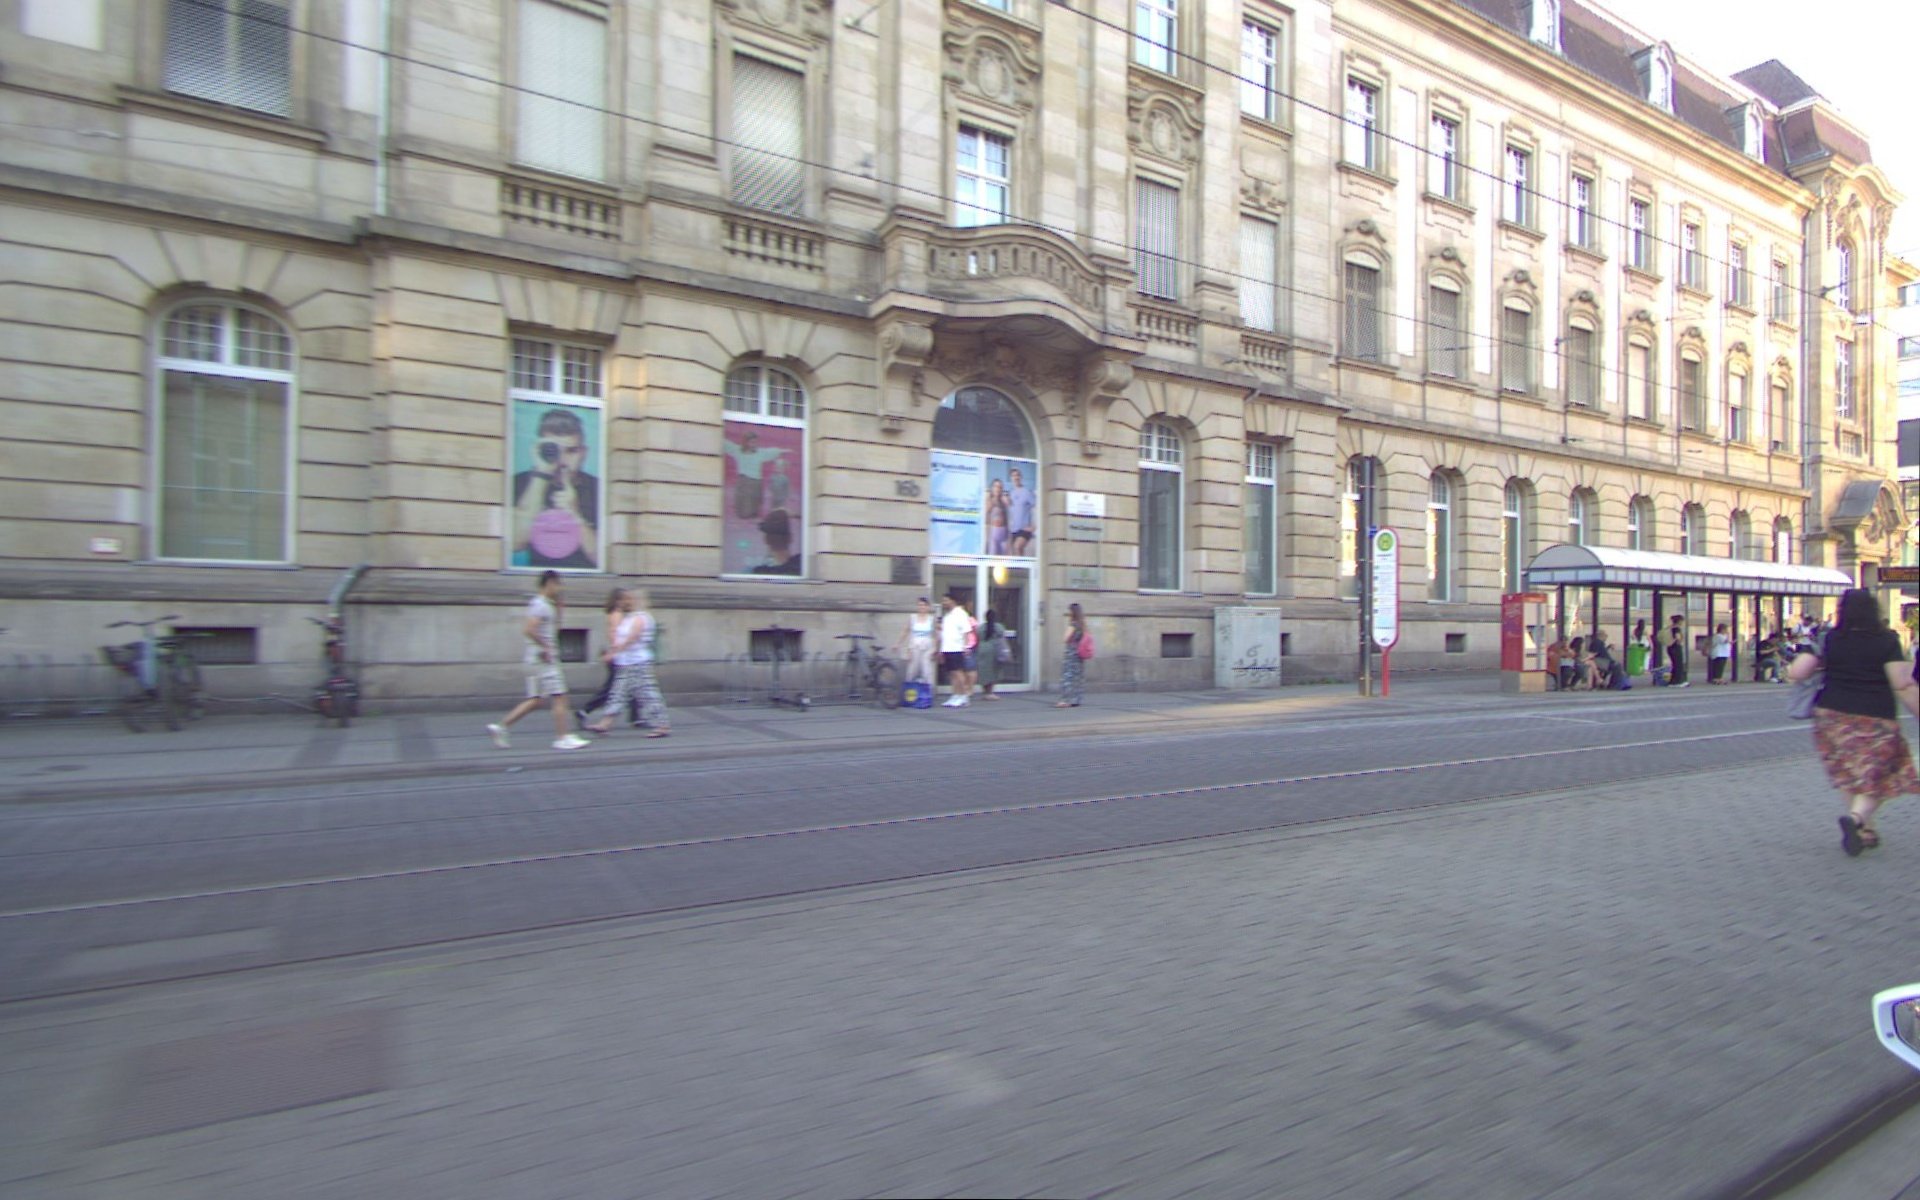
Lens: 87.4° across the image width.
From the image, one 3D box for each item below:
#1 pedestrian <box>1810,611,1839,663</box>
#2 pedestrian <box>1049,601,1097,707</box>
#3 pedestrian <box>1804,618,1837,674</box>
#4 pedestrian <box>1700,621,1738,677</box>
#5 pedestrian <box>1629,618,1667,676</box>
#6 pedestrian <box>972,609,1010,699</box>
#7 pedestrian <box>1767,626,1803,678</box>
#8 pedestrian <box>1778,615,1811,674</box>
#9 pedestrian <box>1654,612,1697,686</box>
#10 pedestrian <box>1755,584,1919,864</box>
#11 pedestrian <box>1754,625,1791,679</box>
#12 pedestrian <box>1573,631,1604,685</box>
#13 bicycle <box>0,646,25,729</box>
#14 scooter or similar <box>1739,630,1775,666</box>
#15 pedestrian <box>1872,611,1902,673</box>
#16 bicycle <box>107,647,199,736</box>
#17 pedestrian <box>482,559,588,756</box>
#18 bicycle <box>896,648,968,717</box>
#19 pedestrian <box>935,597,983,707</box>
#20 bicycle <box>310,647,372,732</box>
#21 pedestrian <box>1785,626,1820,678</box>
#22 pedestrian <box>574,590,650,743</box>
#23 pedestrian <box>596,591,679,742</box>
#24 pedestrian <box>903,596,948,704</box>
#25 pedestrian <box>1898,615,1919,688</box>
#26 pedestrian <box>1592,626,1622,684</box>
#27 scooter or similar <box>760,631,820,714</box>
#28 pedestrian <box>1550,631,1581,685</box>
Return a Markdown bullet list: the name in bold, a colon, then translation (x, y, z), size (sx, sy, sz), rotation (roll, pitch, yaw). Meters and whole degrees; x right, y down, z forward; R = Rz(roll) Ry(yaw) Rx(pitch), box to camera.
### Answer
- **pedestrian**: translation (30.446, 1.298, 35.366), size (0.699, 1.800, 0.616), rotation (1, 0, -34)
- **pedestrian**: translation (1.784, 0.837, 15.874), size (0.437, 1.627, 0.566), rotation (1, 0, -38)
- **pedestrian**: translation (24.608, 1.305, 28.712), size (0.630, 1.590, 0.516), rotation (2, -1, -27)
- **pedestrian**: translation (18.618, 1.198, 24.630), size (0.630, 1.345, 0.516), rotation (2, -1, -27)
- **pedestrian**: translation (20.097, 1.370, 29.346), size (0.624, 1.636, 0.695), rotation (1, 0, -32)
- **pedestrian**: translation (0.527, 0.892, 16.768), size (0.560, 1.459, 0.441), rotation (1, 0, 6)
- **pedestrian**: translation (21.546, 1.351, 26.230), size (0.630, 1.345, 0.516), rotation (2, -1, -27)
- **pedestrian**: translation (23.789, 1.265, 28.623), size (0.630, 1.667, 0.516), rotation (2, -1, -27)
- **pedestrian**: translation (16.627, 1.136, 23.336), size (0.626, 1.672, 0.519), rotation (1, -1, -8)
- **pedestrian**: translation (5.438, 0.686, 5.984), size (0.891, 1.521, 0.842), rotation (1, -1, -31)
- **pedestrian**: translation (20.897, 1.331, 25.838), size (0.630, 1.345, 0.516), rotation (2, -1, -27)
- **pedestrian**: translation (13.324, 1.234, 21.301), size (0.424, 1.117, 0.363), rotation (1, 0, -25)
- **bicycle**: translation (-10.641, 0.973, 10.745), size (0.445, 0.885, 1.571), rotation (1, 0, -25)
- **scooter or similar**: translation (27.163, 1.628, 34.214), size (1.277, 1.197, 0.484), rotation (2, 0, -29)
- **pedestrian**: translation (27.496, 1.240, 29.803), size (0.464, 1.800, 0.556), rotation (1, 0, -34)
- **bicycle**: translation (-9.286, 1.021, 11.607), size (0.445, 0.885, 1.571), rotation (1, 0, -25)
- **pedestrian**: translation (-4.107, 0.544, 9.763), size (0.800, 1.837, 0.693), rotation (1, -1, -12)
- **bicycle**: translation (-0.432, 1.182, 14.770), size (0.445, 0.885, 1.571), rotation (1, 0, -25)
- **pedestrian**: translation (-0.020, 0.795, 15.535), size (0.554, 1.664, 0.475), rotation (1, 0, -24)
- **bicycle**: translation (-7.532, 1.061, 12.263), size (0.445, 0.885, 1.571), rotation (1, 0, -25)
- **pedestrian**: translation (22.320, 1.374, 26.610), size (0.630, 1.345, 0.516), rotation (2, -1, -27)
- **pedestrian**: translation (-4.086, 0.760, 11.840), size (0.802, 1.735, 0.692), rotation (1, -1, -18)
- **pedestrian**: translation (-3.527, 0.704, 10.973), size (0.673, 1.582, 0.655), rotation (1, -1, -36)
- **pedestrian**: translation (-0.541, 0.783, 15.801), size (0.597, 1.664, 0.334), rotation (1, 0, -24)
- **pedestrian**: translation (22.782, 1.225, 23.719), size (0.627, 1.713, 0.675), rotation (1, -1, -14)
- **pedestrian**: translation (14.020, 1.186, 21.769), size (0.424, 1.216, 0.363), rotation (1, 0, -25)
- **scooter or similar**: translation (-2.499, 1.030, 14.663), size (0.445, 1.082, 1.542), rotation (1, 0, -25)
- **pedestrian**: translation (12.751, 1.217, 21.138), size (0.424, 1.117, 0.363), rotation (1, 0, -25)
